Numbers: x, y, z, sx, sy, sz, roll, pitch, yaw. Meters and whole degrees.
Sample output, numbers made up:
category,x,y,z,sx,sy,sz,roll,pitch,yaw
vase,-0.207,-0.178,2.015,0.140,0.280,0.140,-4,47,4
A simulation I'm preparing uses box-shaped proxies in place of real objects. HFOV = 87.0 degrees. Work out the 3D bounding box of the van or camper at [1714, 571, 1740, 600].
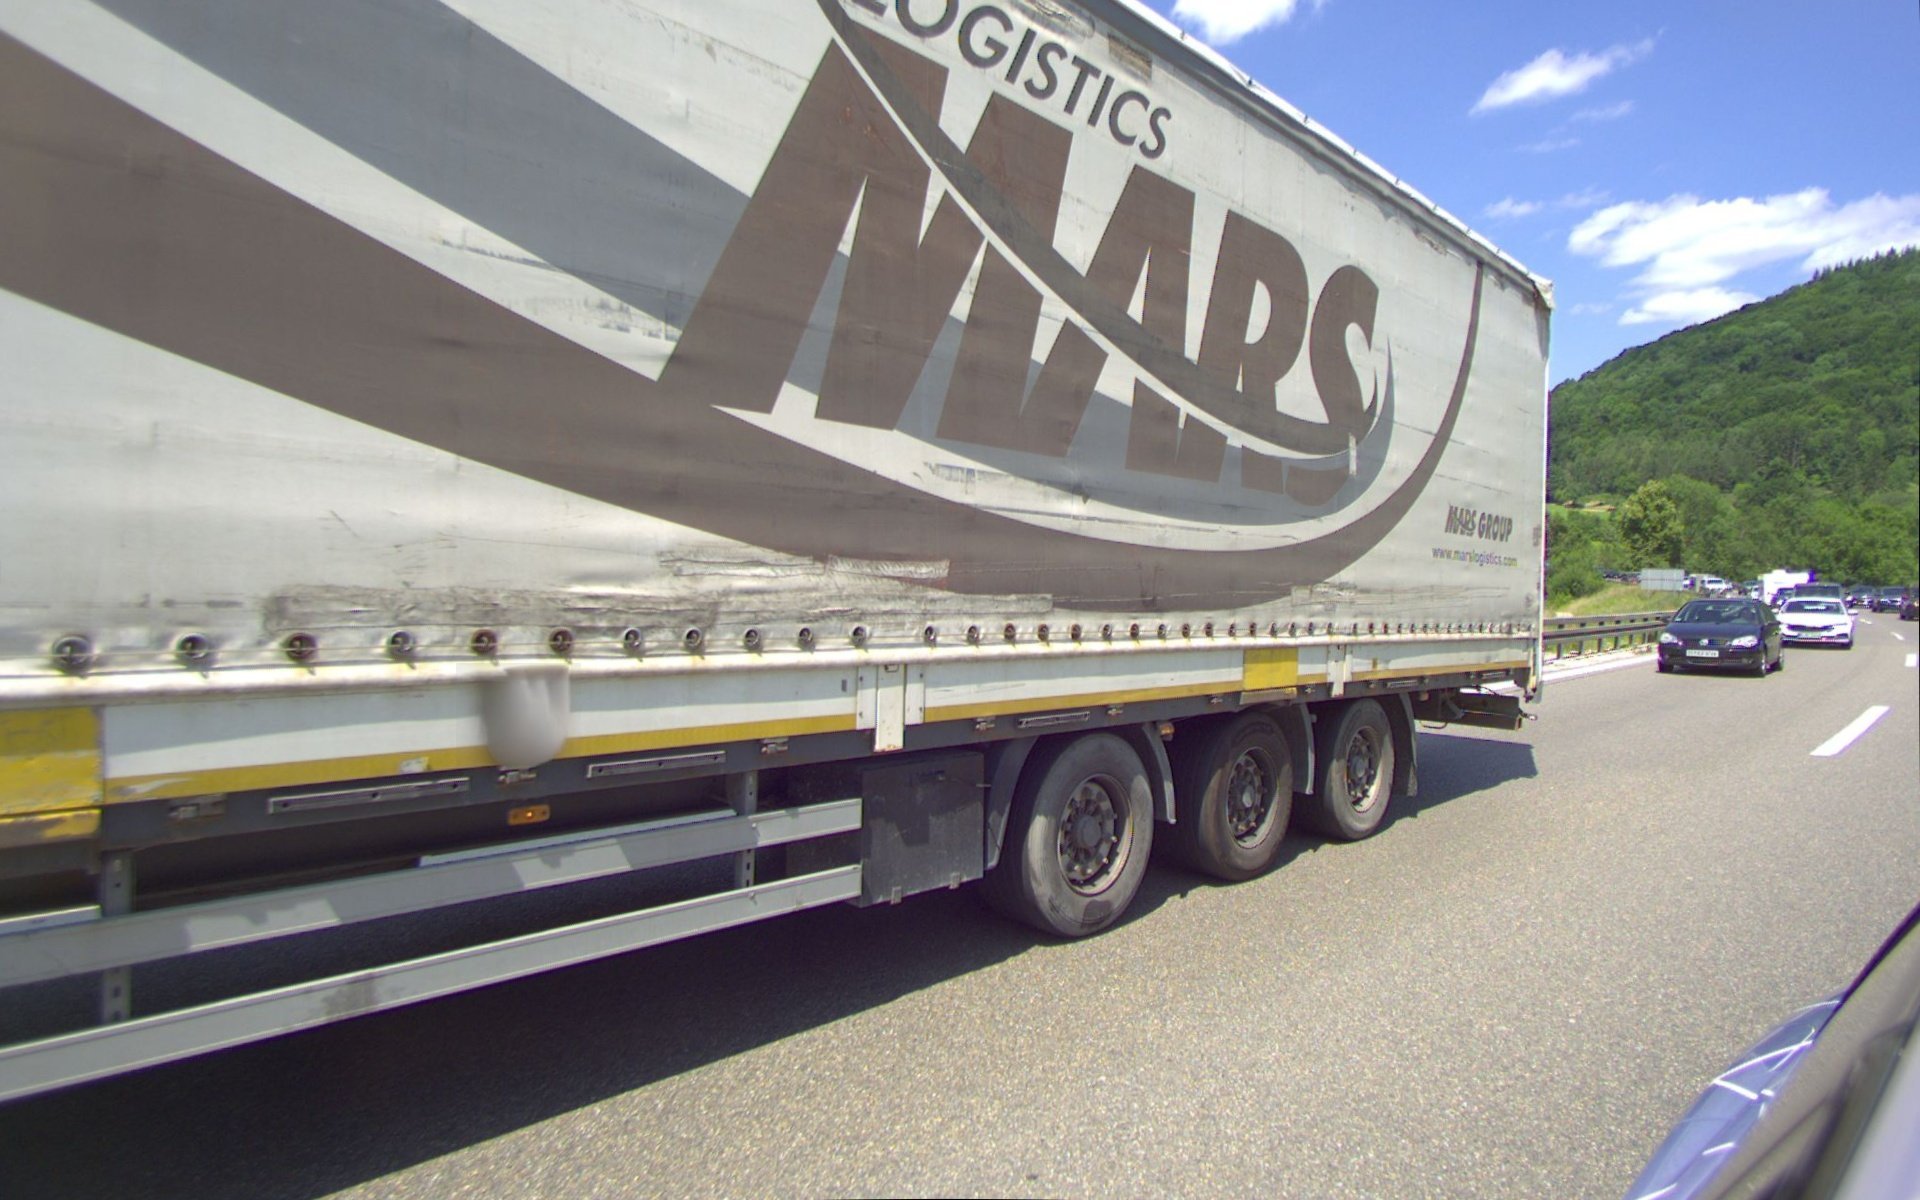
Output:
category,x,y,z,sx,sy,sz,roll,pitch,yaw
van or camper,85.309,-1.609,112.607,1.897,3.065,4.818,1,1,33

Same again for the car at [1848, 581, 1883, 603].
category,x,y,z,sx,sy,sz,roll,pitch,yaw
car,70.422,-0.622,78.767,1.521,1.658,3.376,-2,-1,34

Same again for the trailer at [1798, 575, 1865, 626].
category,x,y,z,sx,sy,sz,roll,pitch,yaw
trailer,36.262,0.005,42.194,1.991,1.994,3.942,2,1,40

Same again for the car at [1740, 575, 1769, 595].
category,x,y,z,sx,sy,sz,roll,pitch,yaw
car,68.161,-1.270,86.854,1.688,1.552,3.633,-2,-1,35

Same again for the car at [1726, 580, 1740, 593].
category,x,y,z,sx,sy,sz,roll,pitch,yaw
car,95.745,-1.679,125.408,1.238,1.497,2.923,-2,-1,35

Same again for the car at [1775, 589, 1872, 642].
category,x,y,z,sx,sy,sz,roll,pitch,yaw
car,25.262,0.429,29.559,1.903,1.448,3.662,-1,-1,44

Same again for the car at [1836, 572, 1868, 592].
category,x,y,z,sx,sy,sz,roll,pitch,yaw
car,75.621,-1.509,85.820,1.521,1.658,3.376,-2,-1,34

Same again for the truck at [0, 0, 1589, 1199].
category,x,y,z,sx,sy,sz,roll,pitch,yaw
truck,-0.596,-0.750,4.871,13.510,4.118,2.729,-1,1,-43

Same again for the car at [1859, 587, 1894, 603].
category,x,y,z,sx,sy,sz,roll,pitch,yaw
car,65.151,-0.348,71.984,1.483,1.123,3.172,0,0,36

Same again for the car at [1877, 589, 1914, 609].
category,x,y,z,sx,sy,sz,roll,pitch,yaw
car,57.406,-0.072,62.127,1.485,1.123,3.168,0,1,39

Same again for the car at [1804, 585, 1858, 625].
category,x,y,z,sx,sy,sz,roll,pitch,yaw
car,33.795,0.169,39.256,1.484,1.400,3.682,4,3,41

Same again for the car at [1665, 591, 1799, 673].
category,x,y,z,sx,sy,sz,roll,pitch,yaw
car,15.123,0.541,19.755,1.691,1.440,3.778,0,0,44

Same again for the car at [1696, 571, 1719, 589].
category,x,y,z,sx,sy,sz,roll,pitch,yaw
car,89.268,-2.383,120.906,1.986,2.039,3.951,0,0,34

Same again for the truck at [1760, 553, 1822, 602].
category,x,y,z,sx,sy,sz,roll,pitch,yaw
truck,57.995,-1.497,70.759,2.586,3.147,6.775,-2,-1,34
